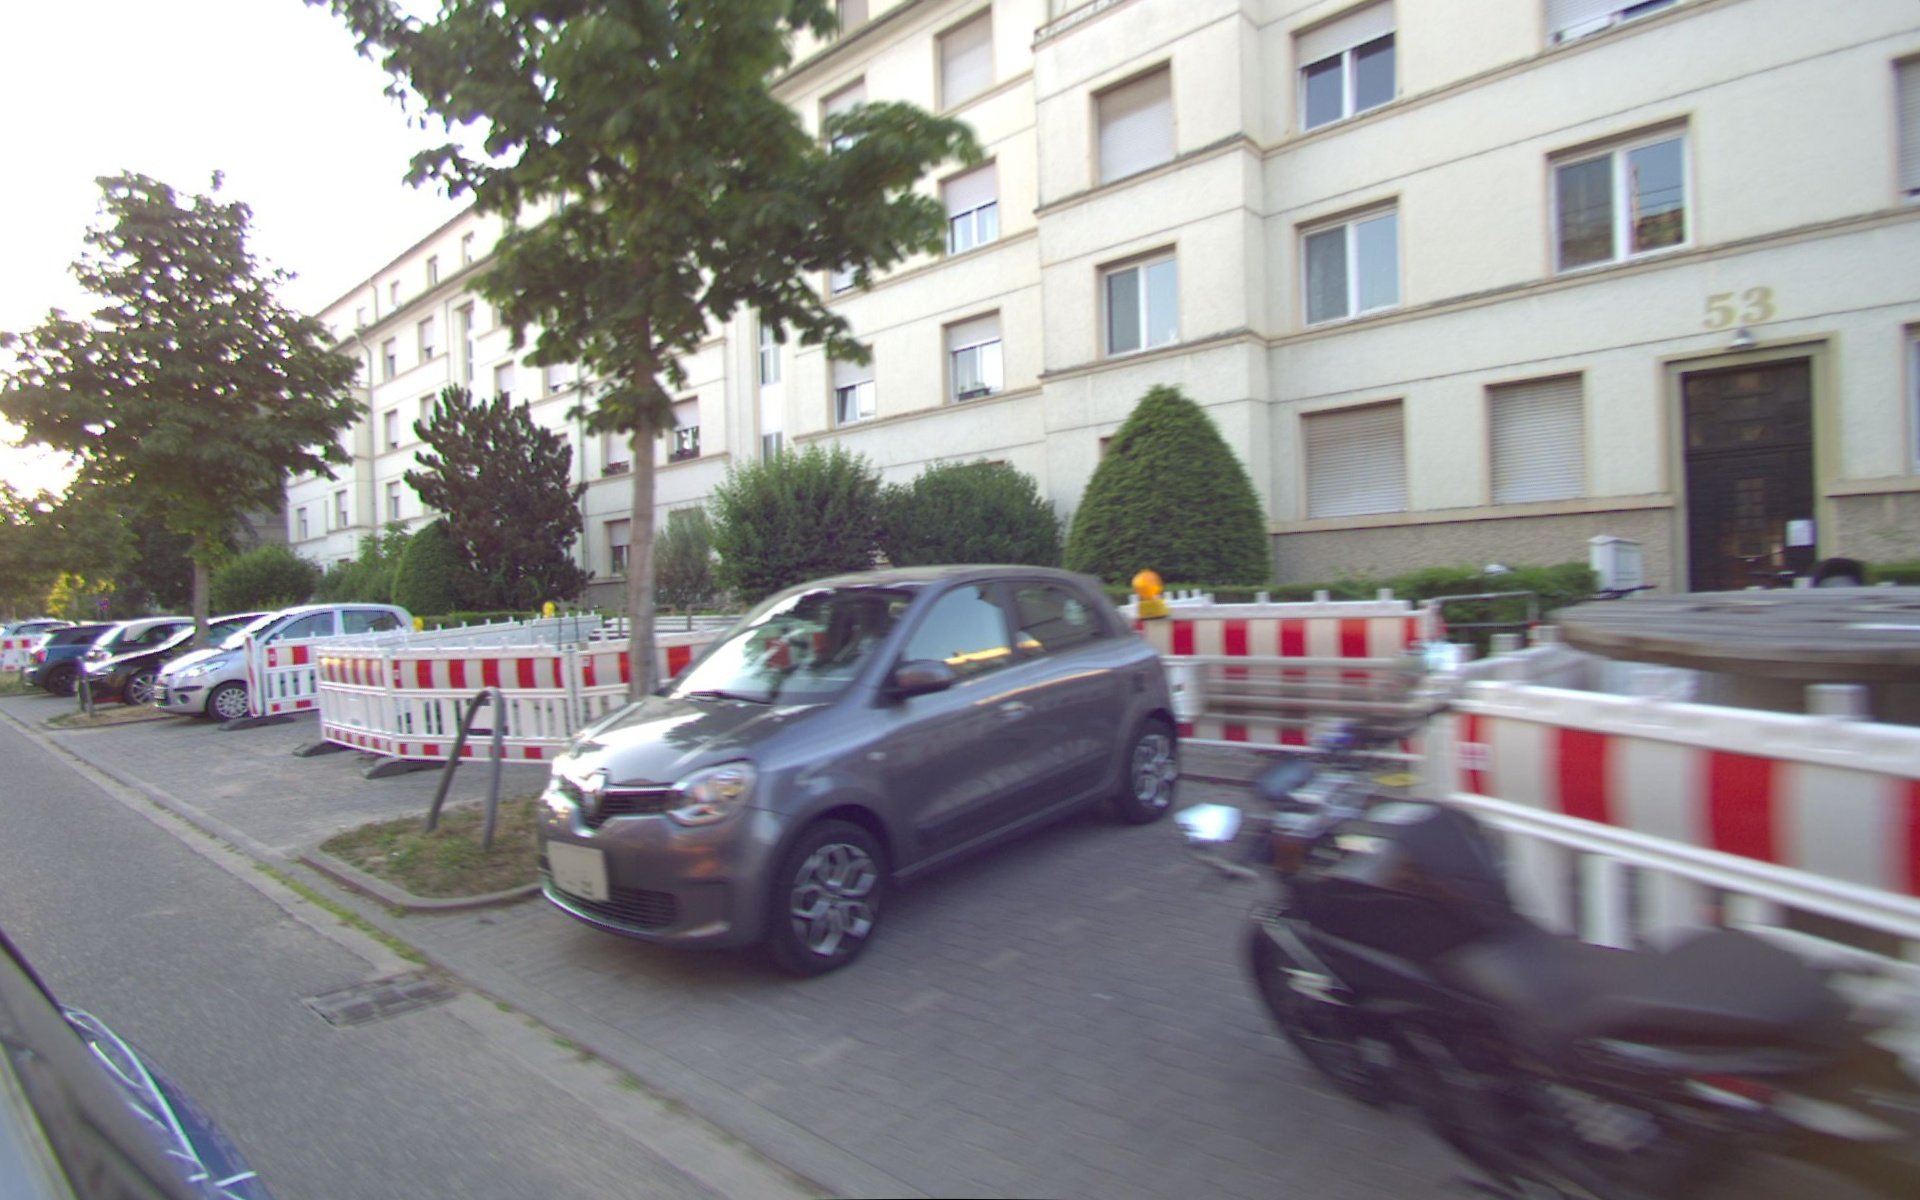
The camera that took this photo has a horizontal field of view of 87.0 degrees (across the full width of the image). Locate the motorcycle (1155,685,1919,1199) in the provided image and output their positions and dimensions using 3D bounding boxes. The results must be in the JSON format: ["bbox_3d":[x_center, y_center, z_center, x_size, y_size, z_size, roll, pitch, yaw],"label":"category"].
[{"bbox_3d":[1.176,0.788,1.831,0.530,1.028,2.218,-4,2,-19],"label":"motorcycle"}]

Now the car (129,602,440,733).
[{"bbox_3d":[-9.918,0.895,15.051,1.725,1.578,3.442,-1,1,37],"label":"car"}]

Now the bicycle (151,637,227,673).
[{"bbox_3d":[-24.697,1.753,32.445,0.360,0.999,1.900,-2,0,43],"label":"bicycle"}]

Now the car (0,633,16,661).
[{"bbox_3d":[-73.785,3.598,75.597,4.718,2.085,2.002,-1,-1,-43],"label":"car"}]

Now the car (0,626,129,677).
[{"bbox_3d":[-31.650,1.768,35.454,1.727,1.495,3.662,-2,1,40],"label":"car"}]

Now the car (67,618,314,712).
[{"bbox_3d":[-15.174,1.200,20.077,1.728,1.495,3.638,-1,1,42],"label":"car"}]

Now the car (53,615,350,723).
[{"bbox_3d":[-13.198,1.111,17.773,1.729,1.500,3.933,-1,1,44],"label":"car"}]

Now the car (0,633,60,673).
[{"bbox_3d":[-41.170,2.338,43.199,1.728,1.553,3.943,-2,1,44],"label":"car"}]

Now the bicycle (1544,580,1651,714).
[{"bbox_3d":[5.317,0.353,8.406,1.507,1.008,0.369,-2,-1,-44],"label":"bicycle"}]

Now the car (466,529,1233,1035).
[{"bbox_3d":[-0.260,0.510,5.123,1.692,1.568,3.586,-2,2,42],"label":"car"}]

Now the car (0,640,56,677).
[{"bbox_3d":[-39.913,2.464,41.720,1.607,1.395,3.801,-2,1,43],"label":"car"}]

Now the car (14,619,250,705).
[{"bbox_3d":[-17.374,1.229,21.341,1.728,1.456,3.637,-1,1,43],"label":"car"}]
